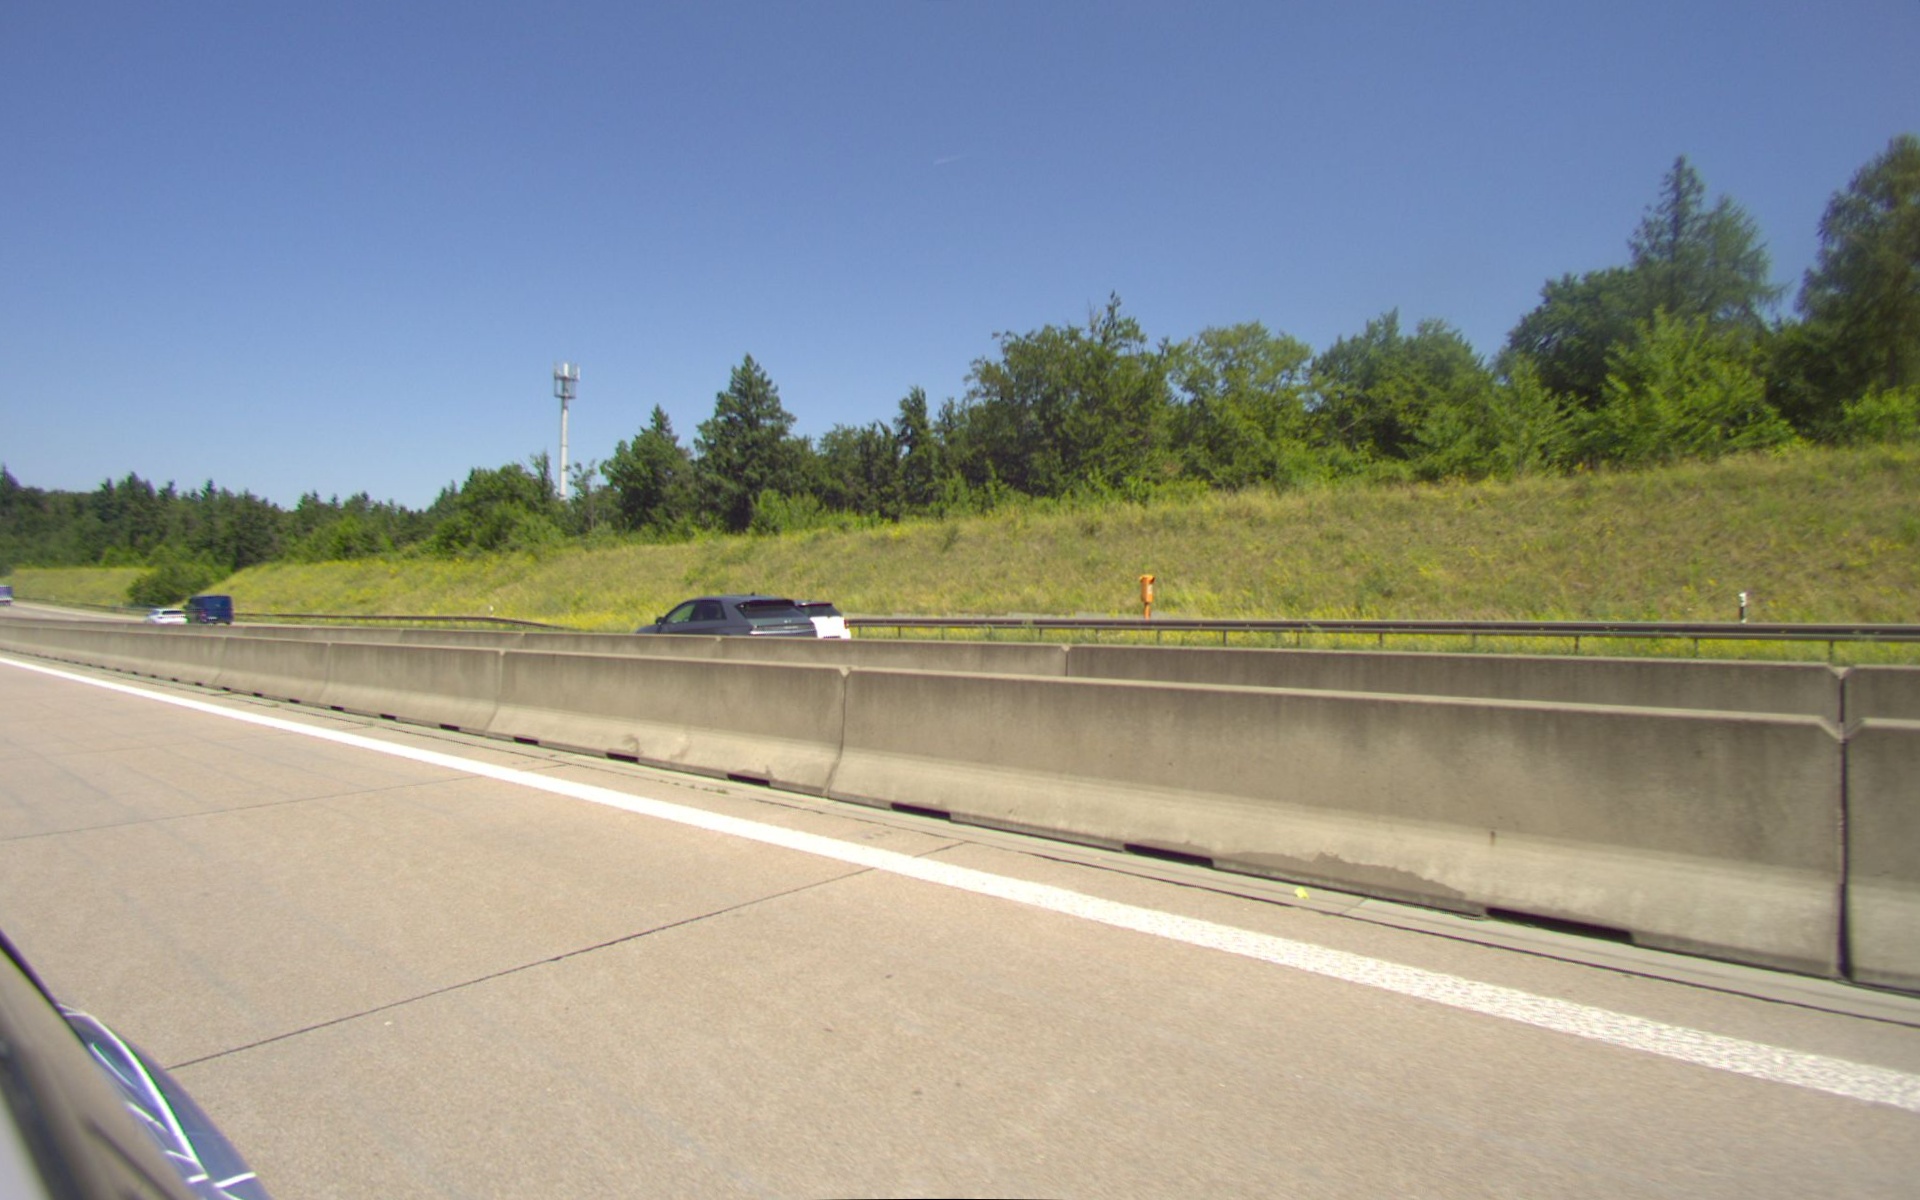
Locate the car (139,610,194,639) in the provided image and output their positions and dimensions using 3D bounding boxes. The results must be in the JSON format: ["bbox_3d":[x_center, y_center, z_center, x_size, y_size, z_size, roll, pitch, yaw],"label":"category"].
[{"bbox_3d":[-53.003,1.636,67.577,4.851,1.821,1.987,-1,0,41],"label":"car"}]

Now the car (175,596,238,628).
[{"bbox_3d":[-56.273,0.893,75.530,6.456,2.227,2.455,-1,0,41],"label":"car"}]

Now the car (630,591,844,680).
[{"bbox_3d":[-4.433,0.647,19.818,4.194,1.549,1.973,-1,0,41],"label":"car"}]

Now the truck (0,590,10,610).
[{"bbox_3d":[-148.135,0.055,155.375,7.831,3.011,2.535,0,1,41],"label":"truck"}]
